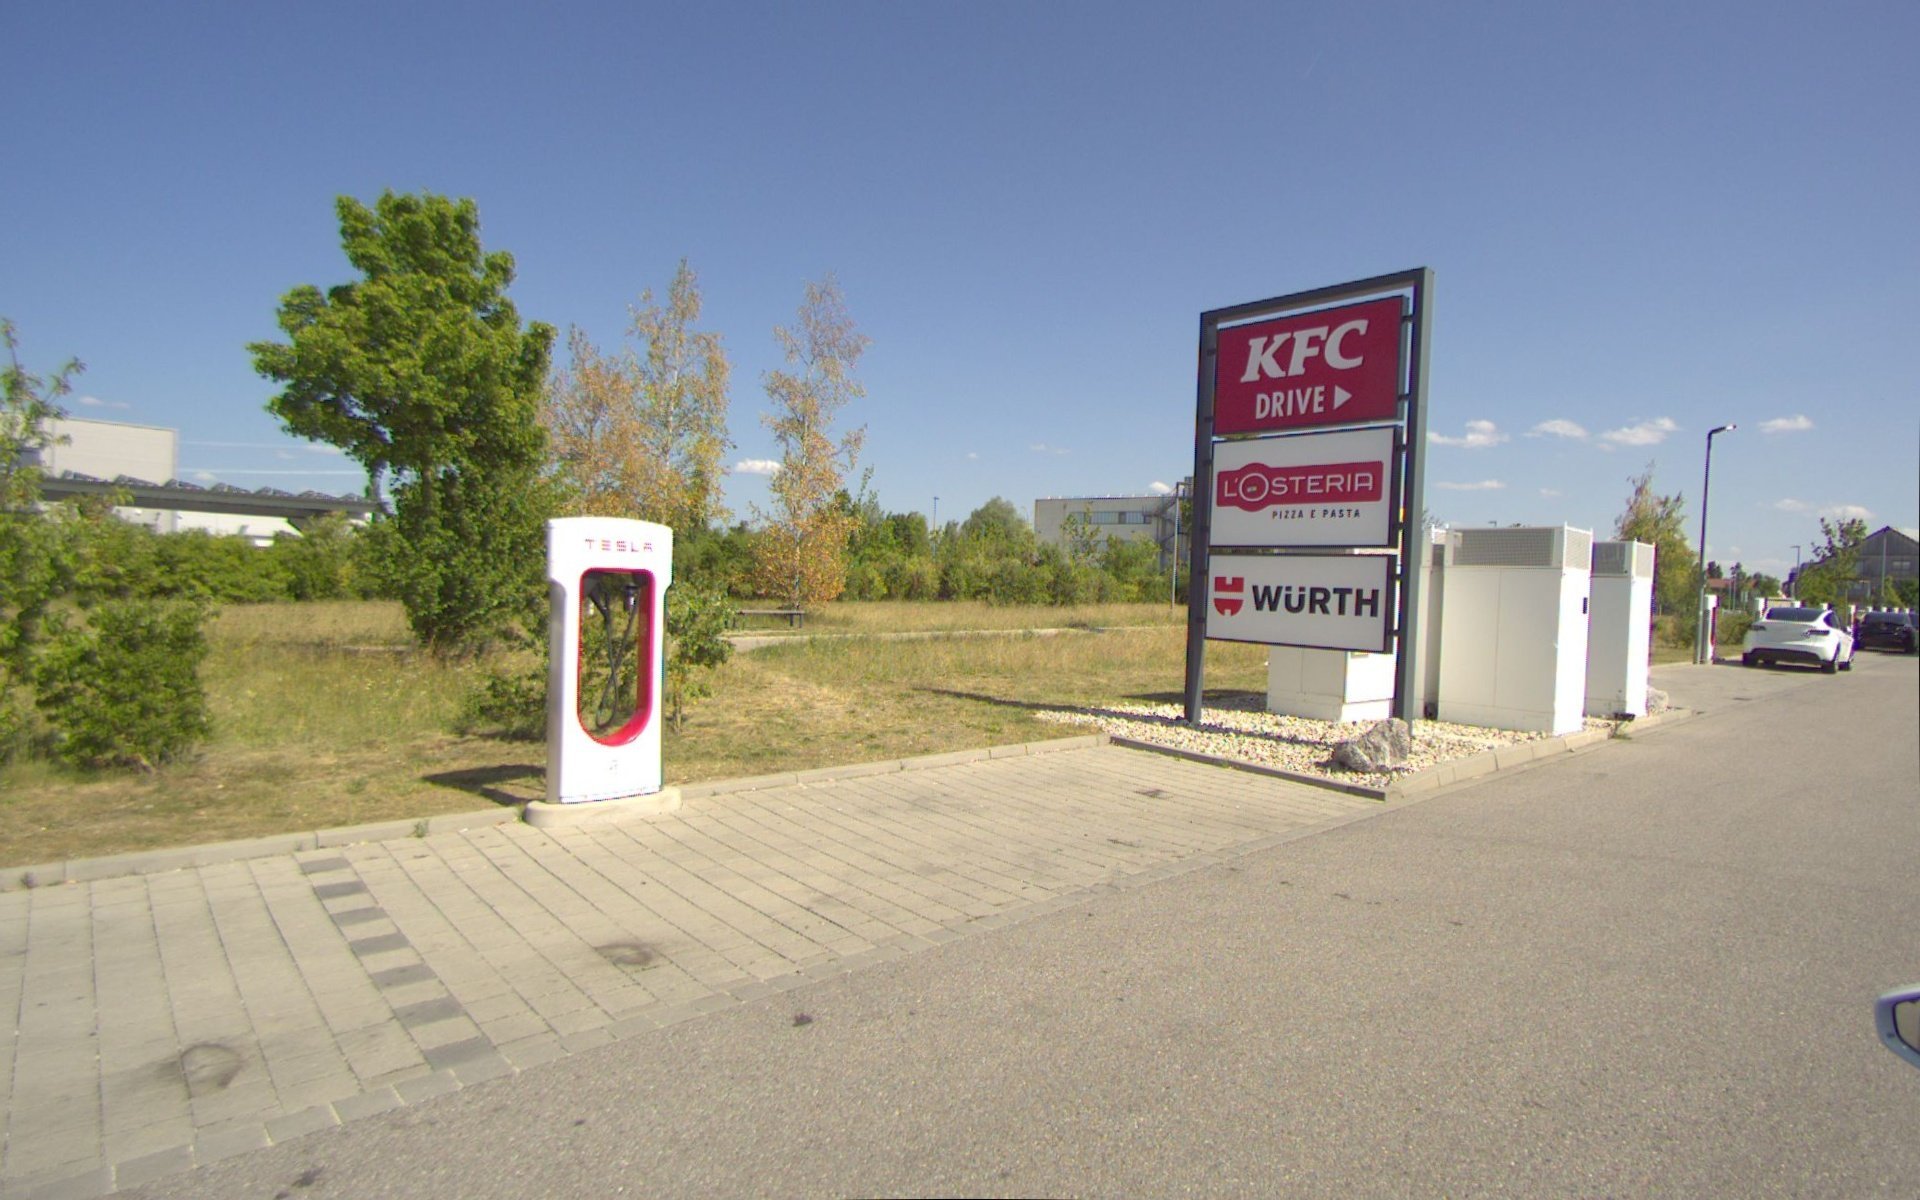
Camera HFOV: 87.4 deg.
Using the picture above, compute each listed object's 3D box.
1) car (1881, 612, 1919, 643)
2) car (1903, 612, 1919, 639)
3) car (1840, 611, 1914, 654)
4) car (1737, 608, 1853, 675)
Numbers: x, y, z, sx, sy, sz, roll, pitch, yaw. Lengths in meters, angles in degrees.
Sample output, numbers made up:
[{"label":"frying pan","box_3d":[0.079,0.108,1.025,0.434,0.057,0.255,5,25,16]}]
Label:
[{"label":"car","box_3d":[46.716,1.334,49.508,3.974,1.406,1.725,1,2,-45]},{"label":"car","box_3d":[58.736,1.579,61.163,3.974,1.589,1.725,1,2,-45]},{"label":"car","box_3d":[37.975,1.305,41.563,3.972,1.589,1.926,1,2,-43]},{"label":"car","box_3d":[22.494,1.051,27.028,3.973,1.589,1.926,1,2,-44]}]
